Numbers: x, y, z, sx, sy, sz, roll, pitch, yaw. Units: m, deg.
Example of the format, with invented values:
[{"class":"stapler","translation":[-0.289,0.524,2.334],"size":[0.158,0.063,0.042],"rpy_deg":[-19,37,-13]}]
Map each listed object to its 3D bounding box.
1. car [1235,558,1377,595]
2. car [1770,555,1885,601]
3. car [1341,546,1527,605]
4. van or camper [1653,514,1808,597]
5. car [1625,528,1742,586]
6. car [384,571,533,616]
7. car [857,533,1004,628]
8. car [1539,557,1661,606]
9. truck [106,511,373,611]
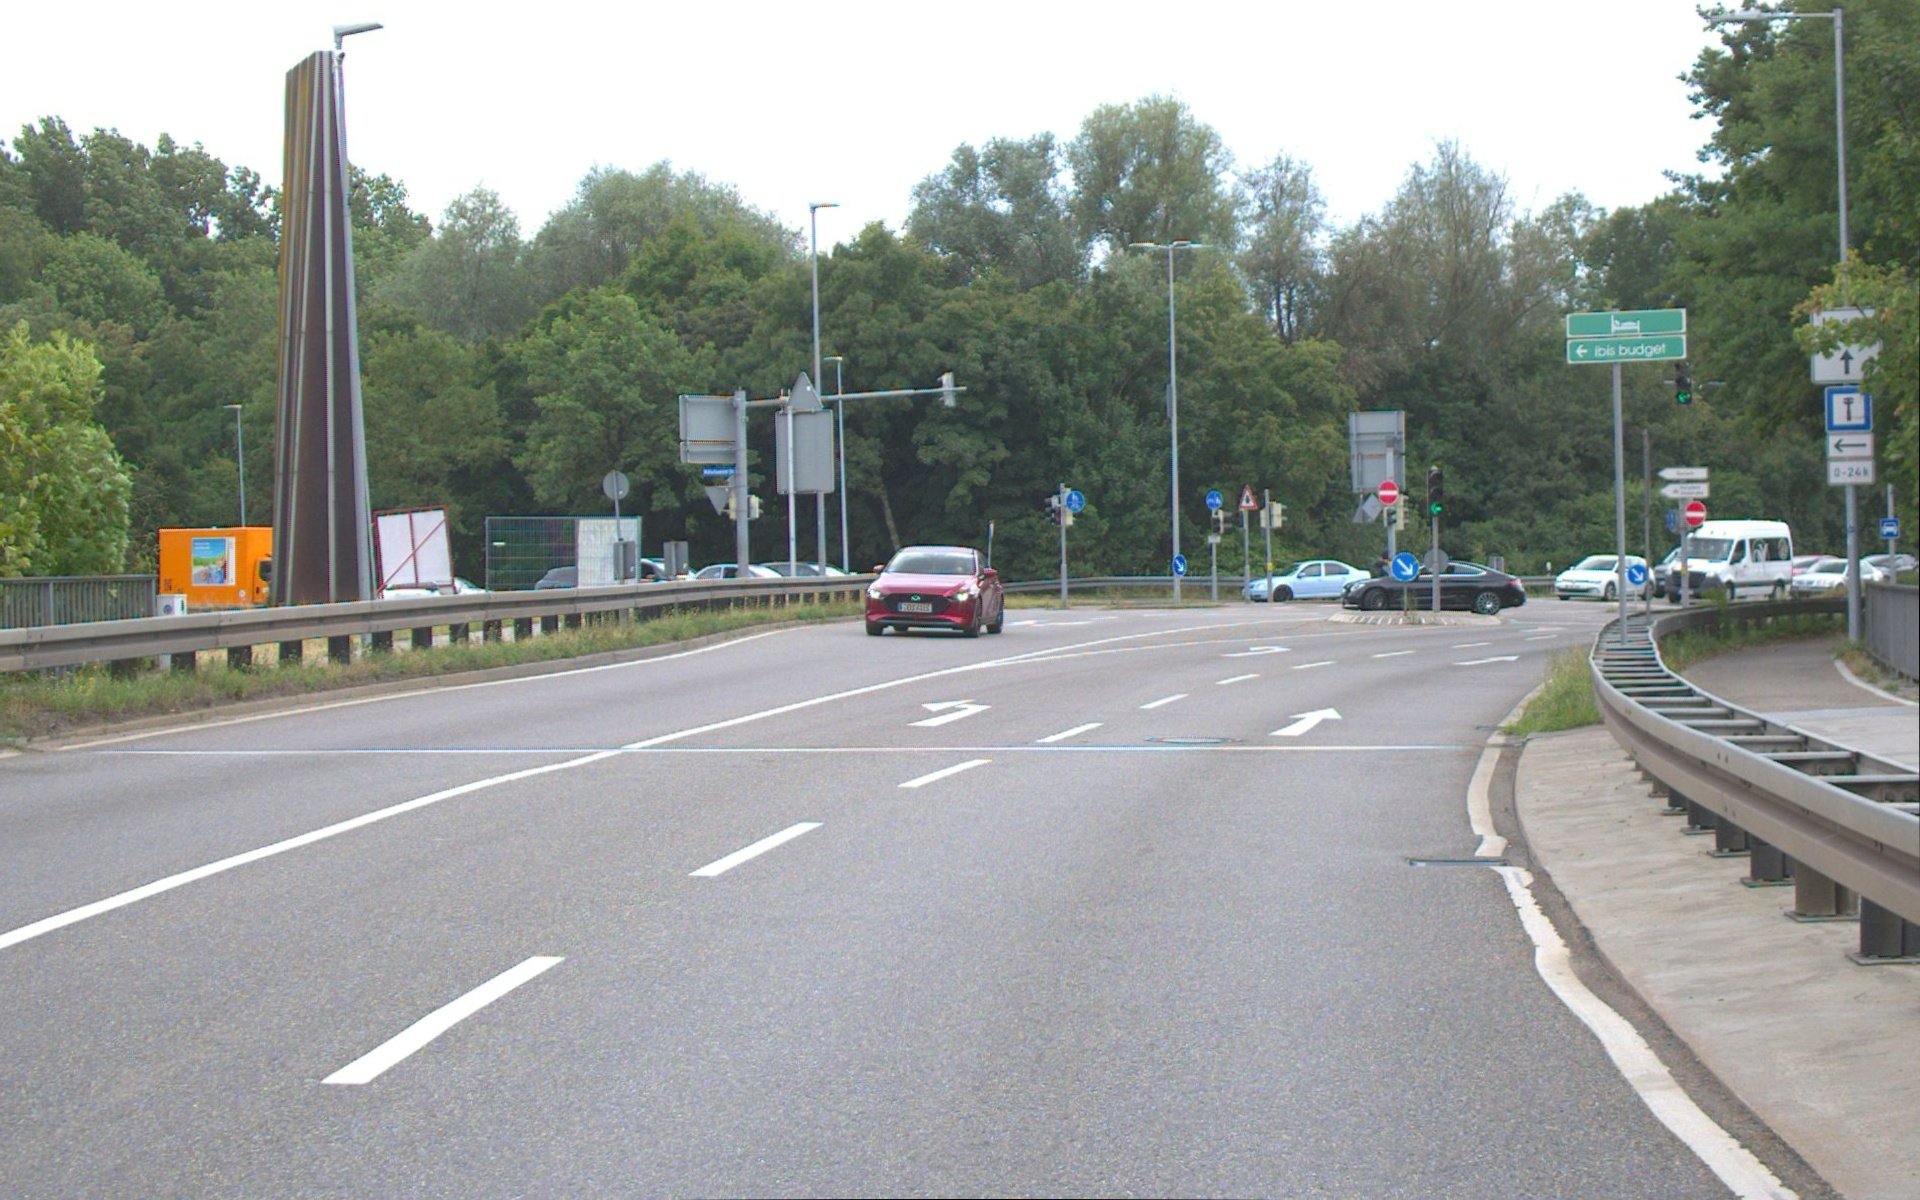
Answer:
[{"class":"car","translation":[11.423,-0.777,113.556],"size":[4.209,1.201,2.000],"rpy_deg":[0,1,-25]},{"class":"car","translation":[29.245,-0.754,115.807],"size":[1.998,1.493,4.389],"rpy_deg":[1,1,40]},{"class":"car","translation":[12.105,-0.625,88.066],"size":[4.639,1.450,2.000],"rpy_deg":[1,1,6]},{"class":"van or camper","translation":[24.725,-1.408,110.126],"size":[2.165,2.580,6.481],"rpy_deg":[1,1,39]},{"class":"car","translation":[24.239,-1.426,115.171],"size":[1.998,1.896,4.157],"rpy_deg":[1,1,42]},{"class":"car","translation":[-15.342,-0.204,105.117],"size":[4.333,1.305,1.996],"rpy_deg":[1,1,36]},{"class":"car","translation":[-0.431,-0.333,55.694],"size":[1.796,1.467,4.635],"rpy_deg":[1,1,7]},{"class":"car","translation":[20.615,-0.611,110.677],"size":[1.998,1.541,4.529],"rpy_deg":[1,1,38]},{"class":"truck","translation":[-23.384,-1.300,111.296],"size":[9.265,3.125,2.966],"rpy_deg":[1,1,35]}]
